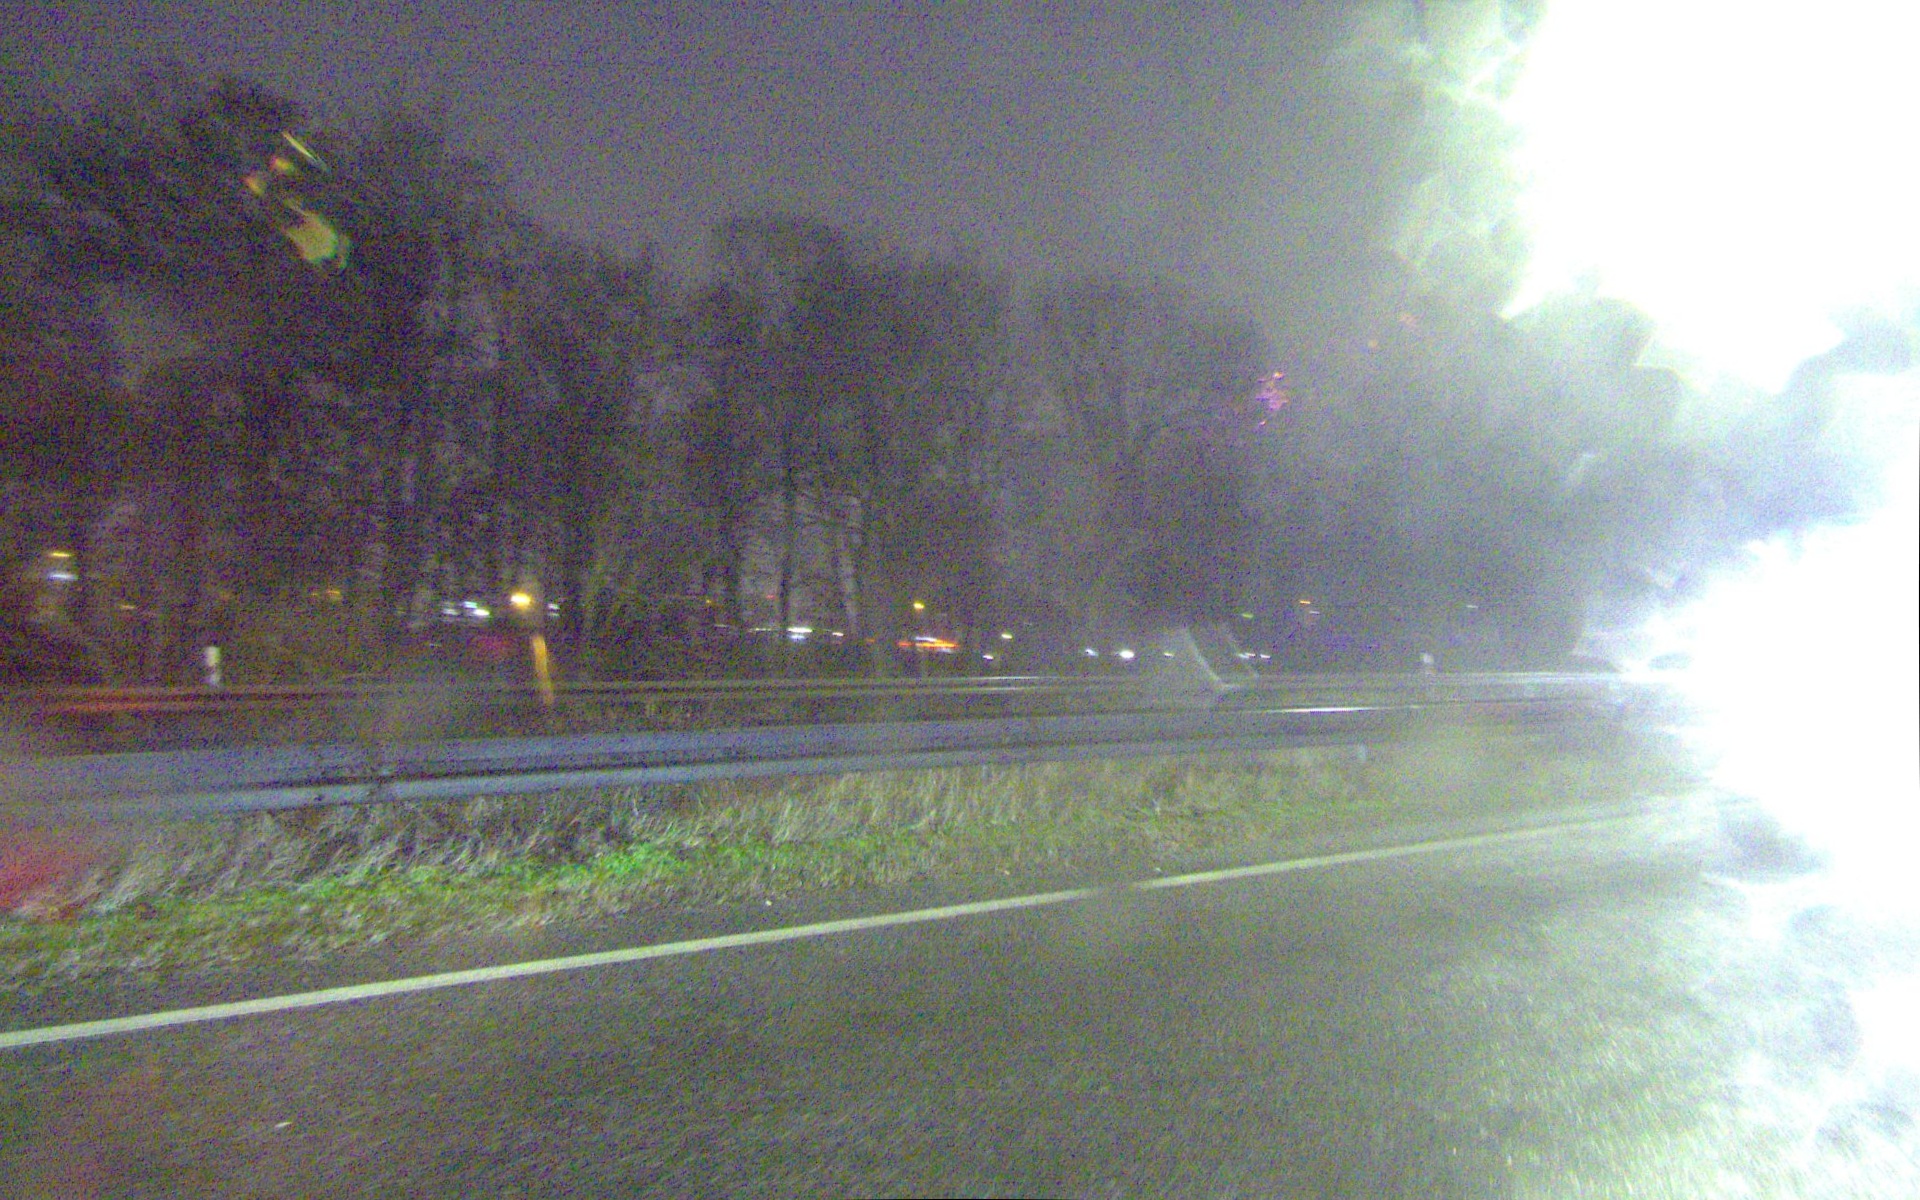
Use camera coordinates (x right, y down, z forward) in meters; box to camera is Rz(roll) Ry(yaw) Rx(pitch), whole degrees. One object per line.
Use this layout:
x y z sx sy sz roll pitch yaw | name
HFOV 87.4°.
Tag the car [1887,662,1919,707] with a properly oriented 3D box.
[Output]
31.687 2.690 32.186 4.112 1.399 1.605 2 -4 -28 | car
